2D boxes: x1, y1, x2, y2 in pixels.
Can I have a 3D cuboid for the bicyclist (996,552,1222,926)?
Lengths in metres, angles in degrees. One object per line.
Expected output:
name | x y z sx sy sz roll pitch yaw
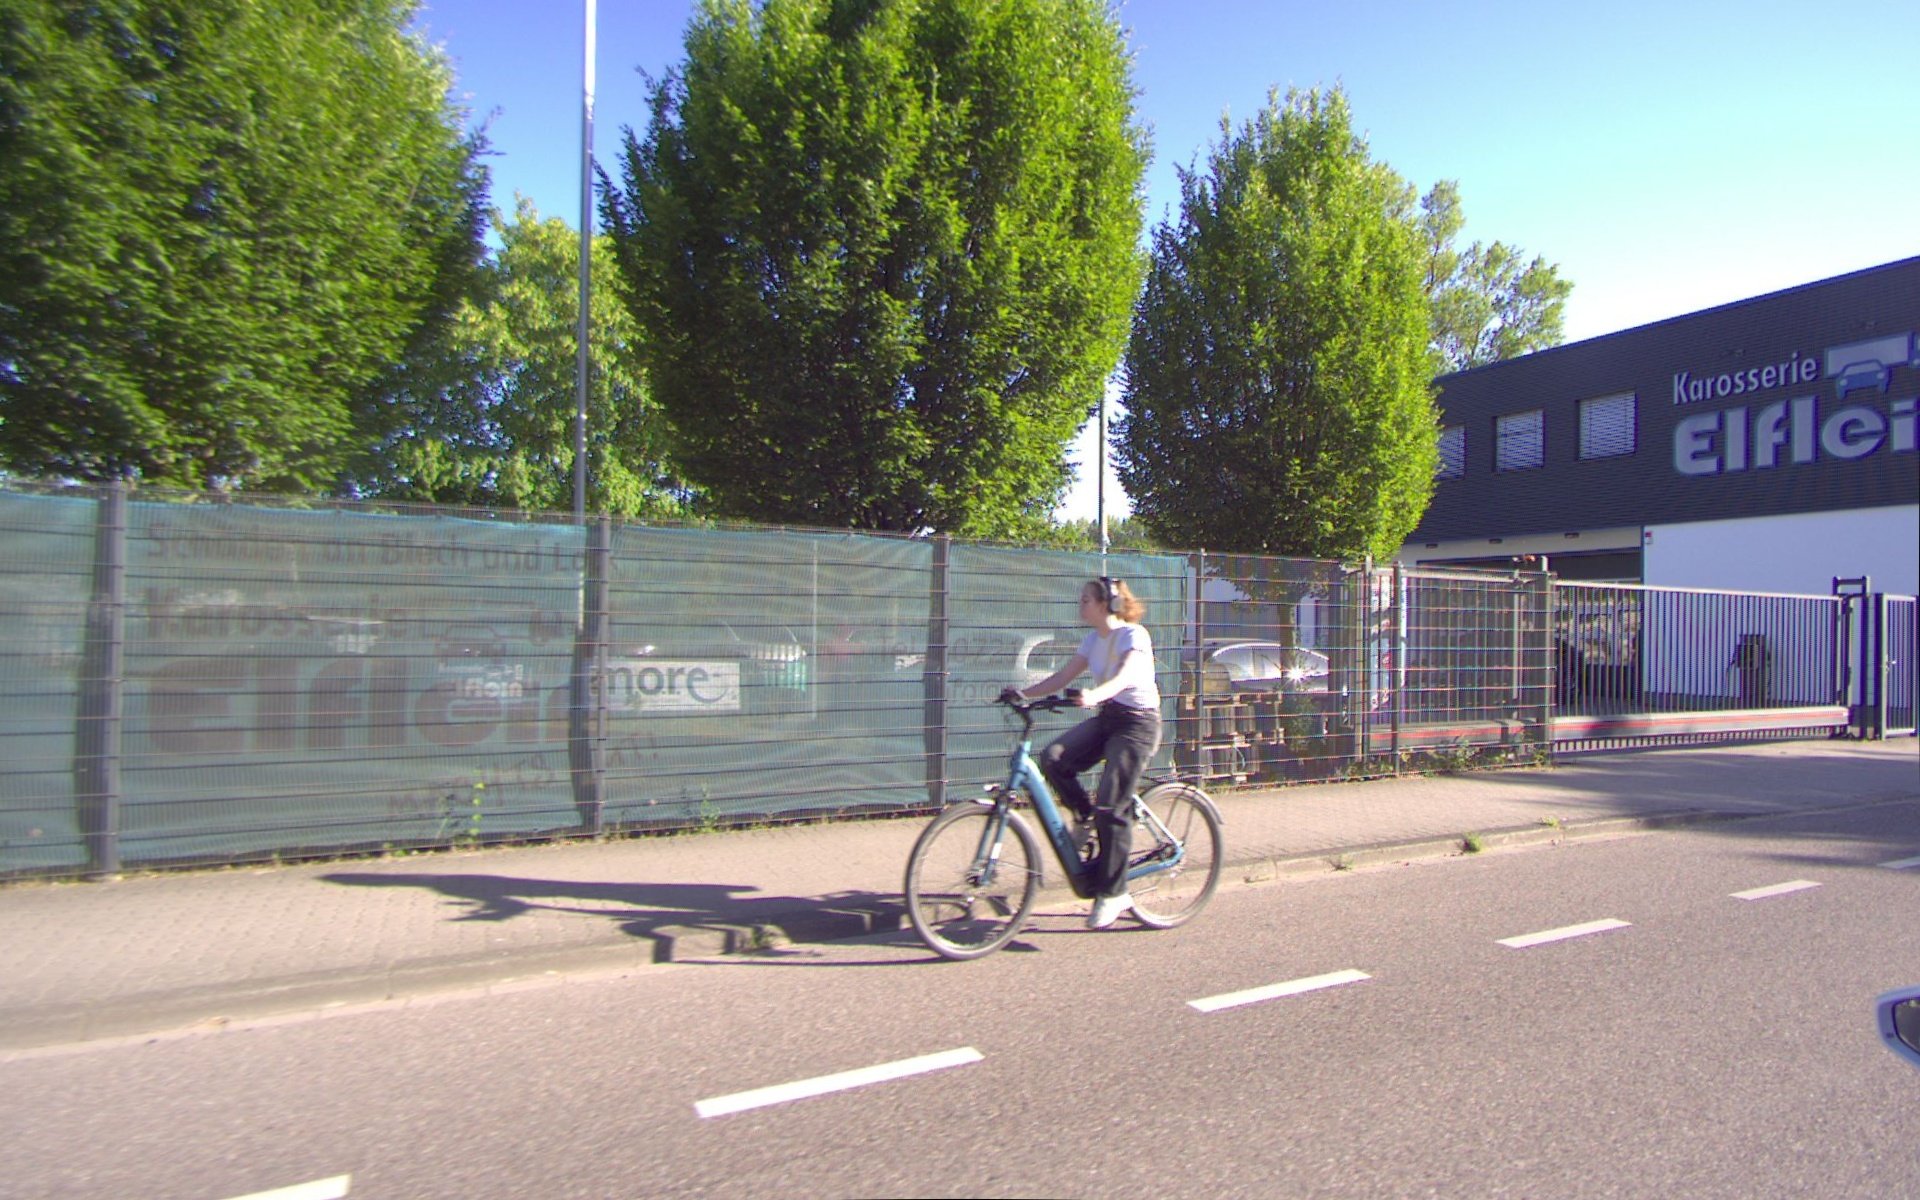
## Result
bicyclist | 0.722 0.629 4.967 0.823 1.649 0.743 1 -2 -28

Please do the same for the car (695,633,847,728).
car | -3.635 1.423 18.745 1.850 1.560 3.976 1 -3 -25

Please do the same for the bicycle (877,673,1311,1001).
bicycle | 0.712 1.039 4.968 2.145 1.305 0.664 2 -2 -28

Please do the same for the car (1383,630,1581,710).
car | 11.560 1.483 22.221 4.127 1.560 1.862 0 -2 -28

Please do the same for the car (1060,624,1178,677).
car | 5.399 1.726 34.661 1.983 1.671 4.248 1 -3 -26

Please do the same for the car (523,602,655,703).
car | -6.657 0.904 17.784 1.850 1.560 3.976 1 -3 -25

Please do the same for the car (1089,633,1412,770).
car | 3.855 1.246 13.273 3.950 1.560 1.862 2 -3 -28

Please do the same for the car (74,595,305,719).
car | -11.147 0.809 14.866 1.850 1.560 3.976 1 -3 -25
